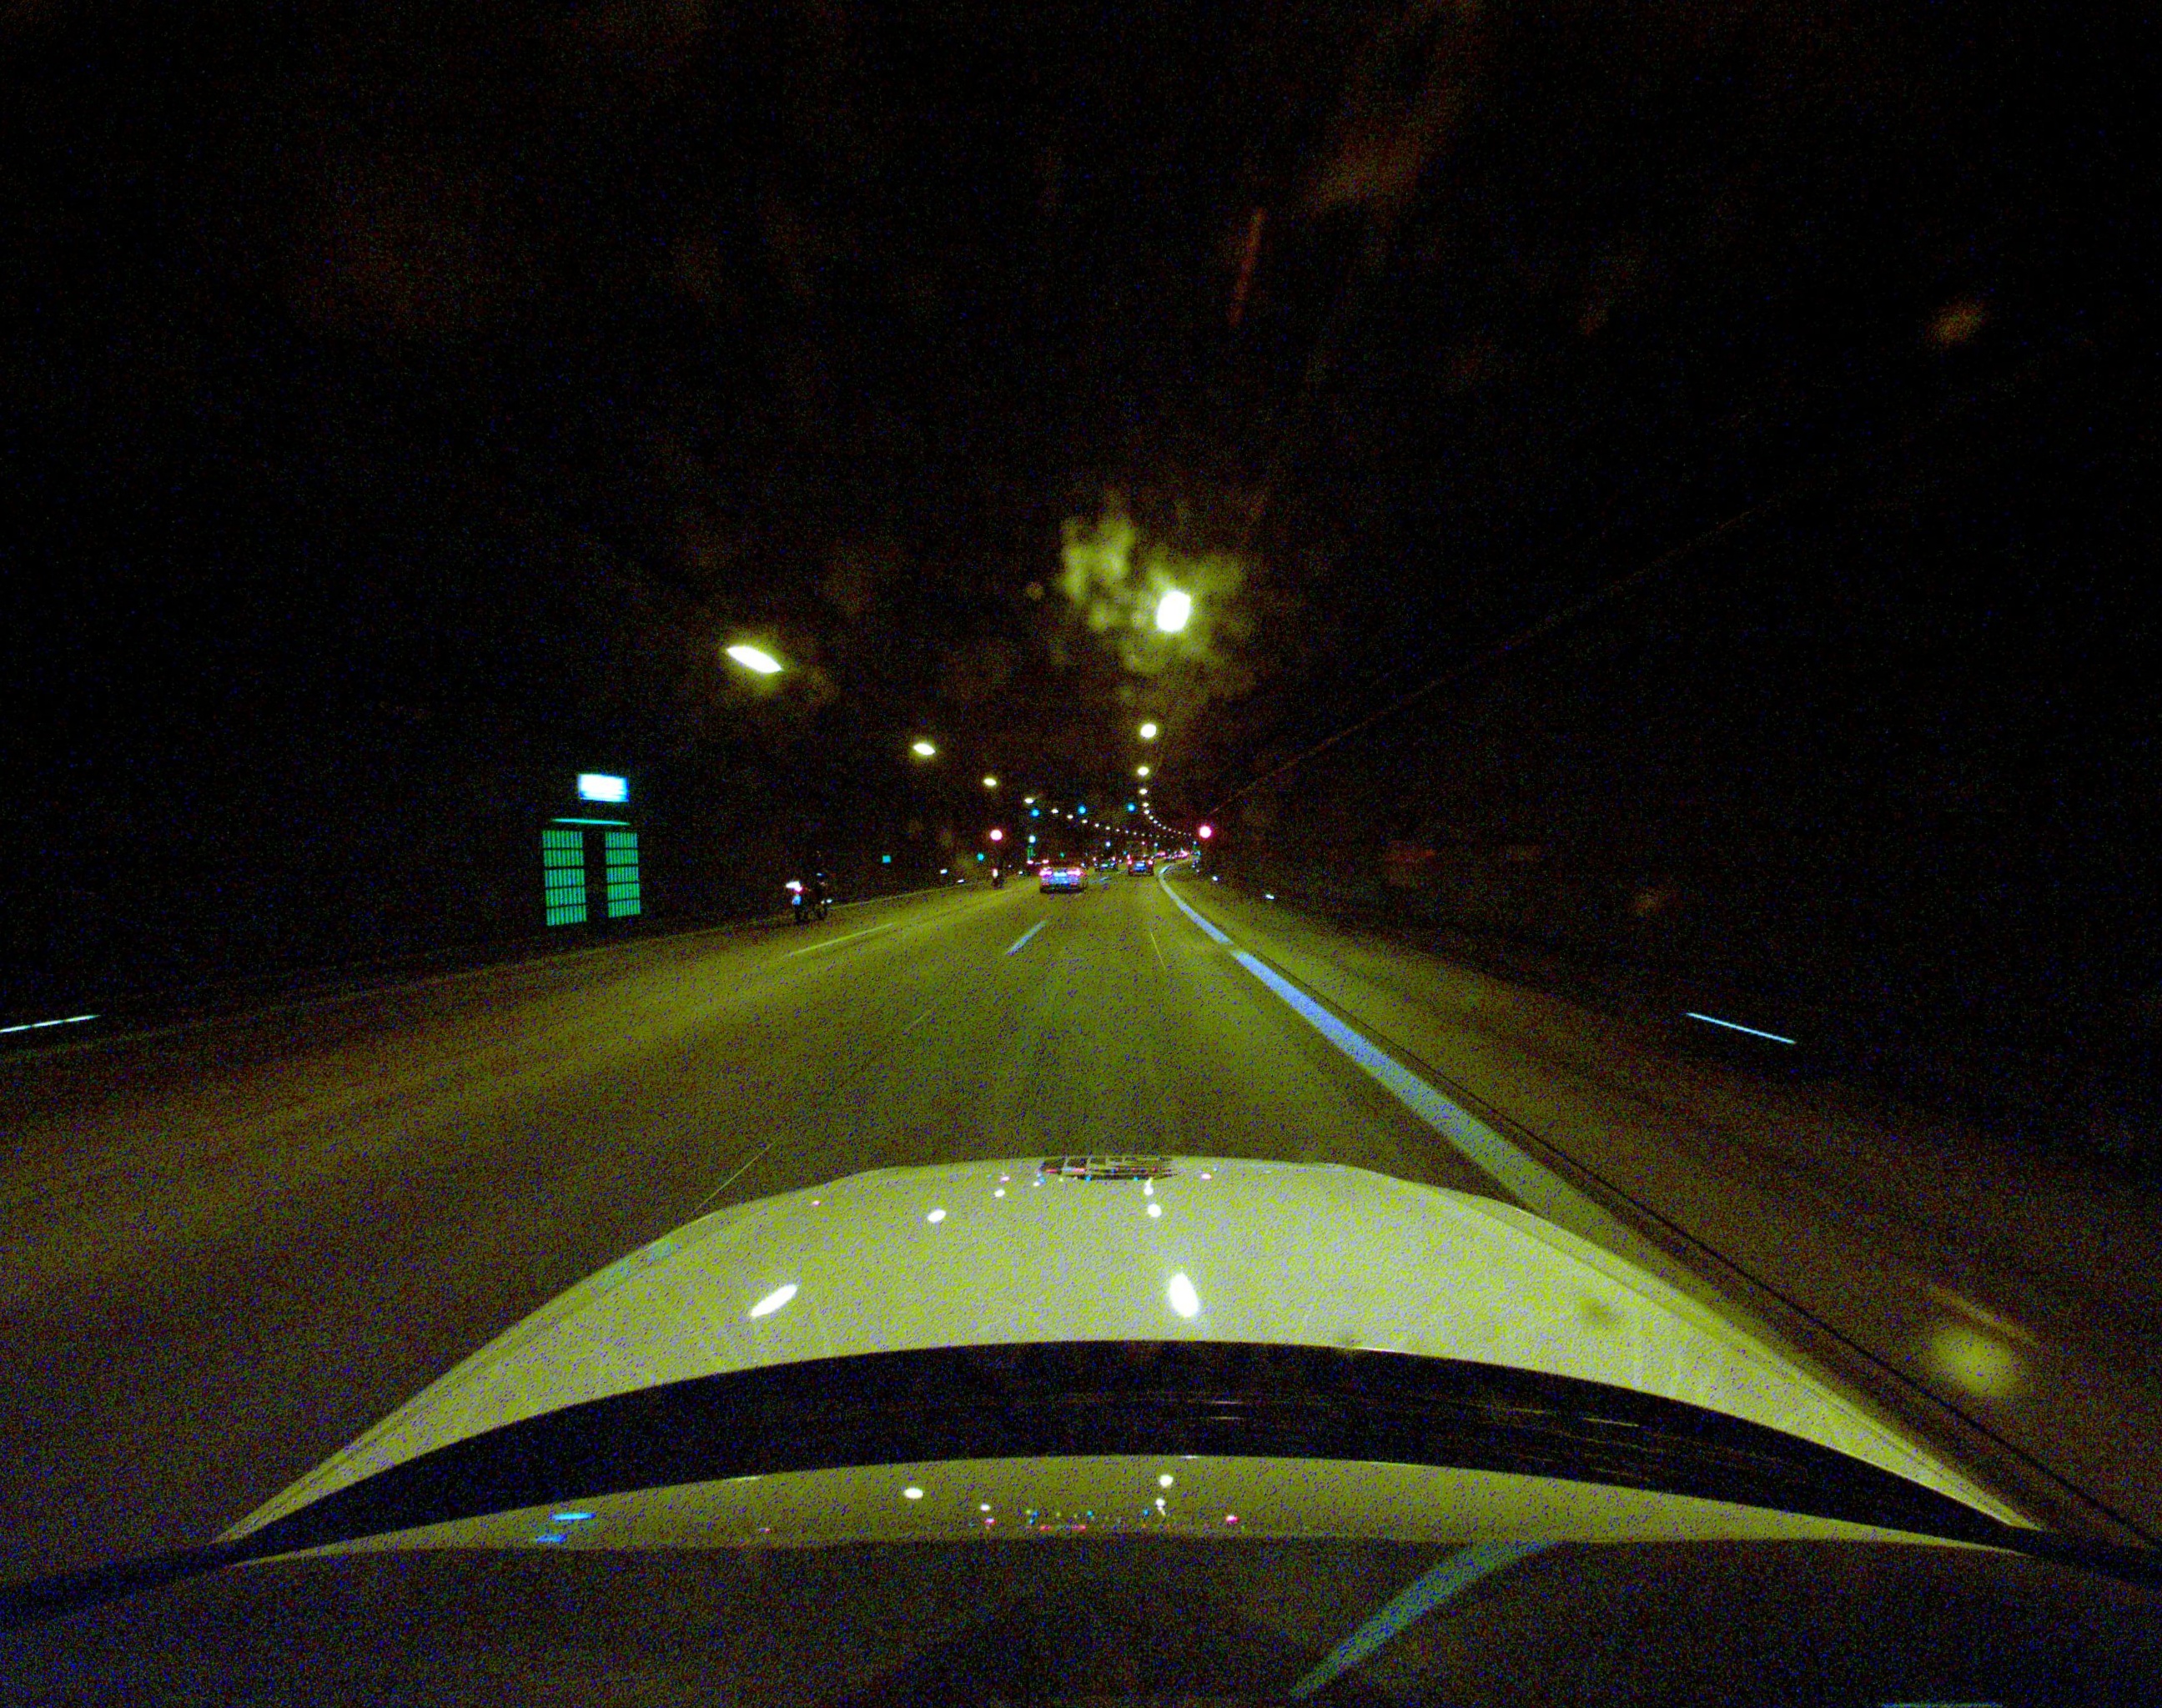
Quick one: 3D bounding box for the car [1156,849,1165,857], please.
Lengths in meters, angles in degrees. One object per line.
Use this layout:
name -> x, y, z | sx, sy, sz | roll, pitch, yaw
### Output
car -> 17.744, -0.253, 181.573 | 1.820, 1.618, 4.010 | -3, 0, 9

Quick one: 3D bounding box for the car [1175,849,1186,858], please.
car -> 18.512, -0.100, 151.973 | 1.848, 1.666, 4.009 | -3, 0, 8

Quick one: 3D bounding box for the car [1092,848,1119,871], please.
car -> 2.250, 0.492, 73.310 | 1.982, 1.972, 4.009 | -1, 0, 8

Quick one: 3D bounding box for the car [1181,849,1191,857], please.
car -> 23.679, -0.284, 183.598 | 1.953, 1.750, 4.010 | -3, 0, 9

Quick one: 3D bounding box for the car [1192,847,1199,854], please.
car -> 29.636, -0.830, 210.560 | 1.822, 1.691, 4.010 | -3, 0, 9

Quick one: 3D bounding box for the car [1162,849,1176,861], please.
car -> 13.426, 0.151, 124.095 | 1.835, 1.568, 4.005 | -3, 0, 4

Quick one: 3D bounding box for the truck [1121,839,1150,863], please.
truck -> 7.862, -0.502, 116.489 | 3.065, 3.112, 10.055 | -4, 1, 9

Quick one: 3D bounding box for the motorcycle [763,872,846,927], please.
motorcycle -> -6.483, 1.042, 19.262 | 1.049, 1.157, 2.428 | -1, 0, 1

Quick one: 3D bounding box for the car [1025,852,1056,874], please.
car -> -3.083, 0.686, 62.044 | 1.776, 1.598, 3.807 | -1, 0, 6

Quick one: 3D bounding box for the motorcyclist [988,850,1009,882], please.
motorcyclist -> -3.980, 0.581, 39.437 | 0.835, 1.477, 0.822 | -1, 1, 3

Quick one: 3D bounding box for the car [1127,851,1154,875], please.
car -> 4.330, 0.639, 58.861 | 1.831, 1.602, 4.005 | -1, 0, 5

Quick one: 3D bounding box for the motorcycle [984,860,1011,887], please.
motorcycle -> -3.988, 0.921, 39.275 | 0.842, 1.245, 2.607 | -2, 0, 4

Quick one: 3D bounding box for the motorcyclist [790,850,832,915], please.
motorcyclist -> -6.397, 0.660, 19.340 | 0.624, 1.489, 0.891 | -2, 0, 1

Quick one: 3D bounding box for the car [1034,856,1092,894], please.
car -> -0.692, 0.836, 34.501 | 1.984, 1.483, 4.006 | -1, 0, 5
